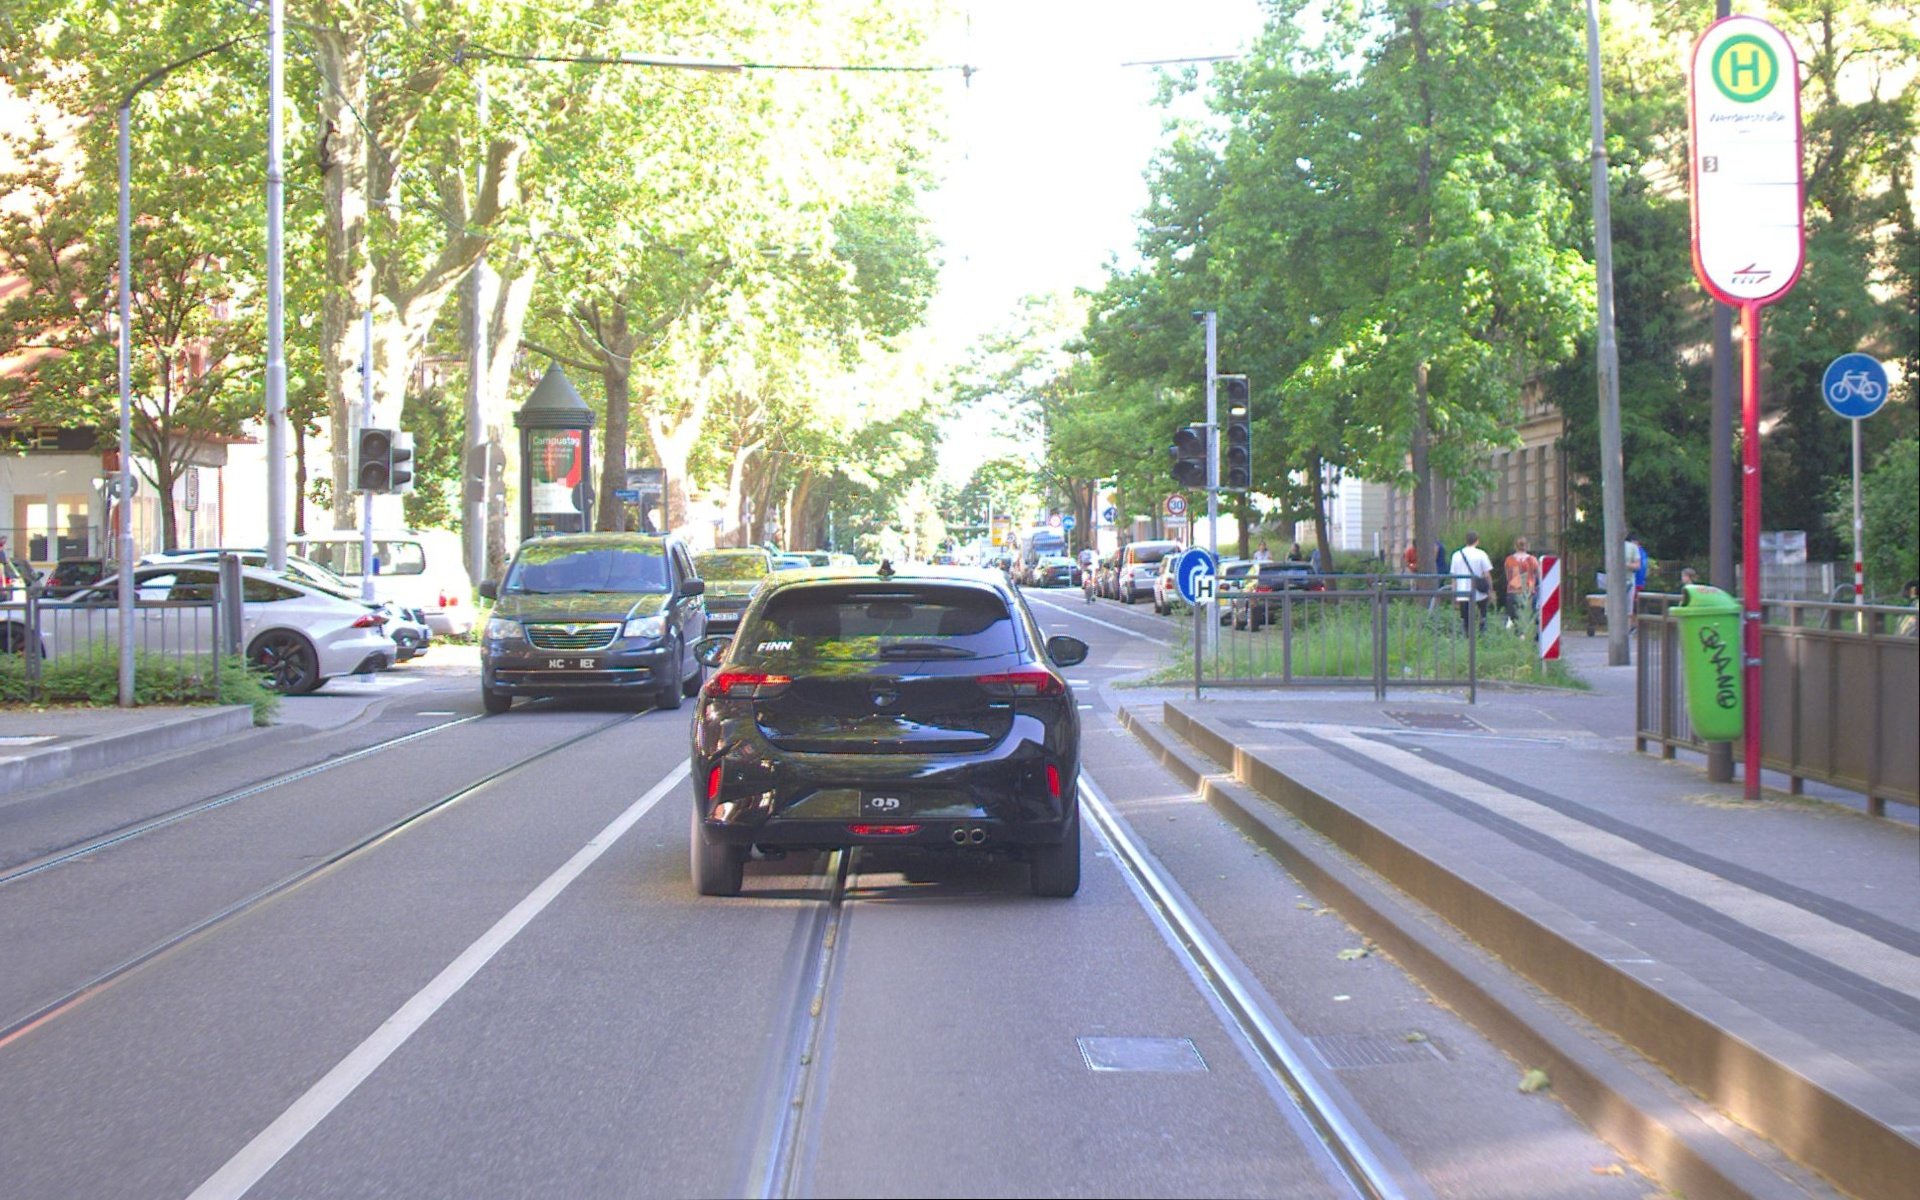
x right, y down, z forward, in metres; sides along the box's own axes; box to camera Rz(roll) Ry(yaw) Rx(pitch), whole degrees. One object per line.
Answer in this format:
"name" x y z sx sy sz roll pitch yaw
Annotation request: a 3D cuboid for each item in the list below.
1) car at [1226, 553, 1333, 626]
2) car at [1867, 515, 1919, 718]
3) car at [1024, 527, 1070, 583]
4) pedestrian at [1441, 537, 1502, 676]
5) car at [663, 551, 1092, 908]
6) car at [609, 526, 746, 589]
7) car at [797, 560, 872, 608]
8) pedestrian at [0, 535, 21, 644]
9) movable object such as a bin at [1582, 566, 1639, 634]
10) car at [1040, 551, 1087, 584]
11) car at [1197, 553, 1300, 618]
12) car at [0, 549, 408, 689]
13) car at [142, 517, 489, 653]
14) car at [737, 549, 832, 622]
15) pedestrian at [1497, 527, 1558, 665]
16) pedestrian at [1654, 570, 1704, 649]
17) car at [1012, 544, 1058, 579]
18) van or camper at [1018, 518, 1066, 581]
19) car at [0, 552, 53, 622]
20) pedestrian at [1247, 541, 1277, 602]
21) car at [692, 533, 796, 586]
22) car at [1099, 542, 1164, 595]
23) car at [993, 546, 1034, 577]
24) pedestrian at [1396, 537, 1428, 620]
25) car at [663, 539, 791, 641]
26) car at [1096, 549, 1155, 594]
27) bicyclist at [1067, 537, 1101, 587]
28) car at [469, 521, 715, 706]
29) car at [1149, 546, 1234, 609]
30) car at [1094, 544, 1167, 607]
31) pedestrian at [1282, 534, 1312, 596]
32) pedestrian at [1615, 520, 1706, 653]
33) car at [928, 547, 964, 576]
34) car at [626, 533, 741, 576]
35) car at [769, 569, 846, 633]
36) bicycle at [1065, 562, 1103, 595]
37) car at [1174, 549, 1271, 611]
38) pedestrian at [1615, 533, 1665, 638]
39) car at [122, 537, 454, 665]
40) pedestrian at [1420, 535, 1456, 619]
"car" 6.622 -0.221 71.479 1.672 1.407 3.843 -2 1 -2
"car" 8.513 0.128 26.733 1.762 1.616 4.442 -2 1 1
"car" 4.418 -2.311 175.052 2.085 2.762 4.698 -1 1 -1
"pedestrian" 6.742 0.076 45.288 0.726 1.787 0.853 -2 1 10
"car" -0.364 0.520 16.252 1.763 1.455 3.950 1 1 -1
"car" -10.534 -1.585 128.606 5.032 2.251 2.086 1 1 -4
"car" -3.932 -0.503 107.219 1.660 1.439 3.474 1 1 -13
"pedestrian" -16.159 -0.181 57.491 0.644 1.803 0.751 1 0 5
"movable object such as a bin" 11.015 0.000 58.243 0.665 1.122 0.957 1 0 -8
"car" 4.734 -1.489 157.776 1.884 1.429 4.530 -2 1 -1
"car" 6.522 -0.333 78.034 1.884 1.363 4.107 -2 1 -1
"car" -8.601 0.194 38.074 4.763 1.455 1.955 1 0 -5
"car" -9.101 -0.220 48.809 4.570 1.828 1.939 1 0 -2
"car" -3.656 -0.323 72.266 1.775 1.456 4.204 1 1 0
"pedestrian" 7.499 -0.059 45.415 0.726 1.787 0.967 -2 1 10
"pedestrian" 10.279 0.129 49.160 0.674 1.115 0.659 1 0 11
"car" 4.095 -2.115 188.817 2.254 1.834 5.531 -1 1 -1
"van or camper" 4.296 -2.653 181.614 2.254 3.205 5.531 -1 1 -1
"car" -21.923 -0.308 73.746 4.526 1.484 1.861 1 0 -6
"pedestrian" 8.417 -0.802 95.849 0.726 1.687 0.957 1 0 0
"car" -10.926 -2.049 174.356 5.036 2.366 2.081 -3 0 0
"car" 5.824 -1.073 117.016 1.885 1.760 4.678 0 1 -1
"car" 3.254 -2.336 210.032 2.254 1.834 5.531 -1 1 -1
"pedestrian" 9.856 -0.476 75.009 0.599 1.787 0.728 1 0 12
"car" -3.939 -0.187 58.745 1.908 1.632 4.321 -1 1 -1
"car" 5.898 -1.018 122.955 1.712 1.509 4.037 -2 1 -2
"bicyclist" 3.785 -1.156 105.141 0.958 1.494 1.094 1 0 -2
"car" -3.641 0.099 34.854 1.993 1.710 5.143 1 1 -1
"car" 6.182 -0.608 92.259 1.884 1.562 4.242 -2 1 -1
"car" 5.331 -0.775 107.883 1.884 1.845 4.967 -2 1 -1
"pedestrian" 9.379 -0.969 95.812 0.726 1.703 0.856 1 0 0
"pedestrian" 10.026 -0.200 49.203 0.867 1.878 0.998 1 0 -18
"car" -0.909 -2.552 225.477 2.254 1.834 5.531 -1 1 -1
"car" -10.567 -1.729 131.655 4.299 1.601 1.926 1 1 -3
"car" -3.919 0.003 88.989 1.815 1.563 4.116 -1 1 0
"bicycle" 3.786 -0.661 105.171 0.968 0.995 2.583 1 1 -2
"car" 6.652 -0.507 87.521 1.884 1.462 4.594 -2 1 -2
"pedestrian" 11.303 -0.240 57.184 0.617 1.720 0.554 1 0 -13
"car" -9.031 0.005 46.466 4.139 1.641 1.902 1 0 -2
"pedestrian" 10.302 -0.503 74.116 0.598 1.787 0.728 1 0 -3
